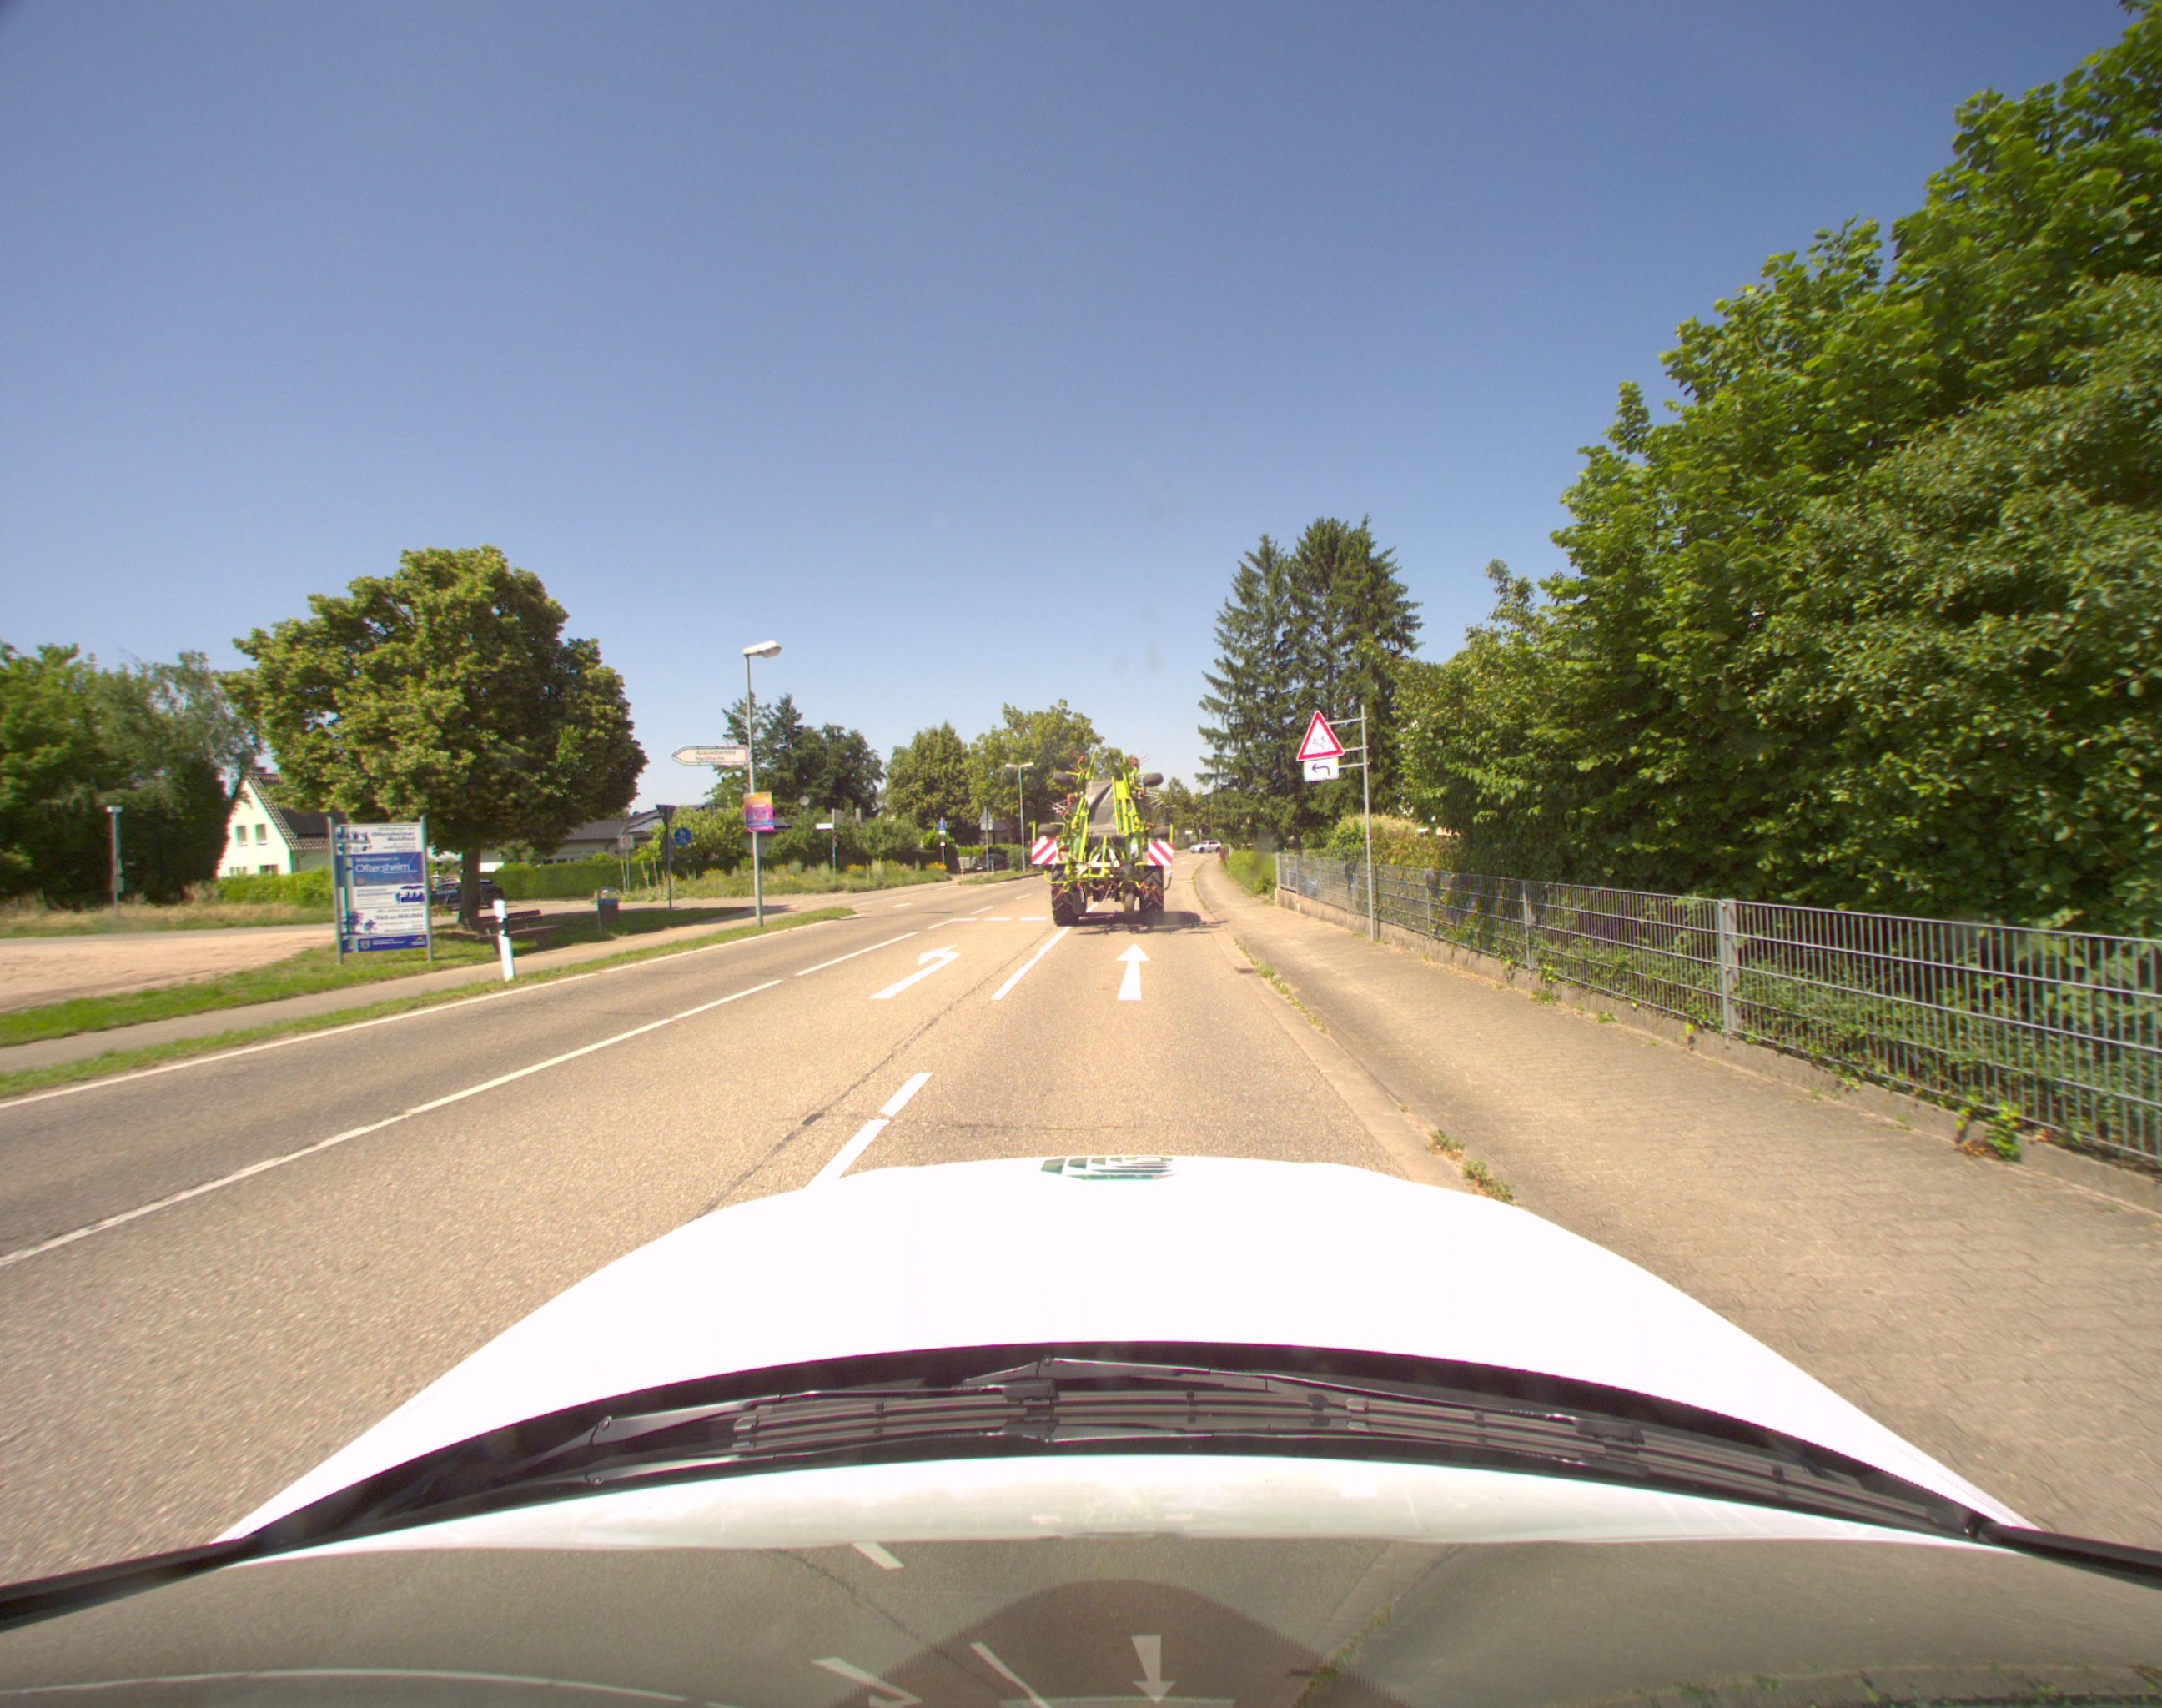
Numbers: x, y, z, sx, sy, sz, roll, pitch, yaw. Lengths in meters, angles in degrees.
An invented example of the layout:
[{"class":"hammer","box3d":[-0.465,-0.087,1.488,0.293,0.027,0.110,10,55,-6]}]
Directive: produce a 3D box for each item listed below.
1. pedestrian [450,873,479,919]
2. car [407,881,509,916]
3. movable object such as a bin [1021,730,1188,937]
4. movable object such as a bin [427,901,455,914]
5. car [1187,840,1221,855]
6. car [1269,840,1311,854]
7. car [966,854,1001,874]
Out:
[{"class":"pedestrian","box3d":[-23.607,1.610,31.175,0.544,1.716,0.680,-2,0,27]},{"class":"car","box3d":[-33.514,2.396,43.856,3.969,1.518,1.884,-3,2,3]},{"class":"movable object such as a bin","box3d":[0.879,-0.374,19.178,2.839,3.541,9.716,-2,0,6]},{"class":"movable object such as a bin","box3d":[-23.476,1.962,29.868,0.316,0.410,0.769,-2,0,44]},{"class":"car","box3d":[15.533,-0.849,102.859,4.012,1.715,1.845,-2,0,-30]},{"class":"car","box3d":[21.519,-0.726,83.804,3.806,1.294,1.680,-1,0,-6]},{"class":"car","box3d":[-7.977,0.802,66.998,1.677,1.530,4.013,-1,0,12]}]
